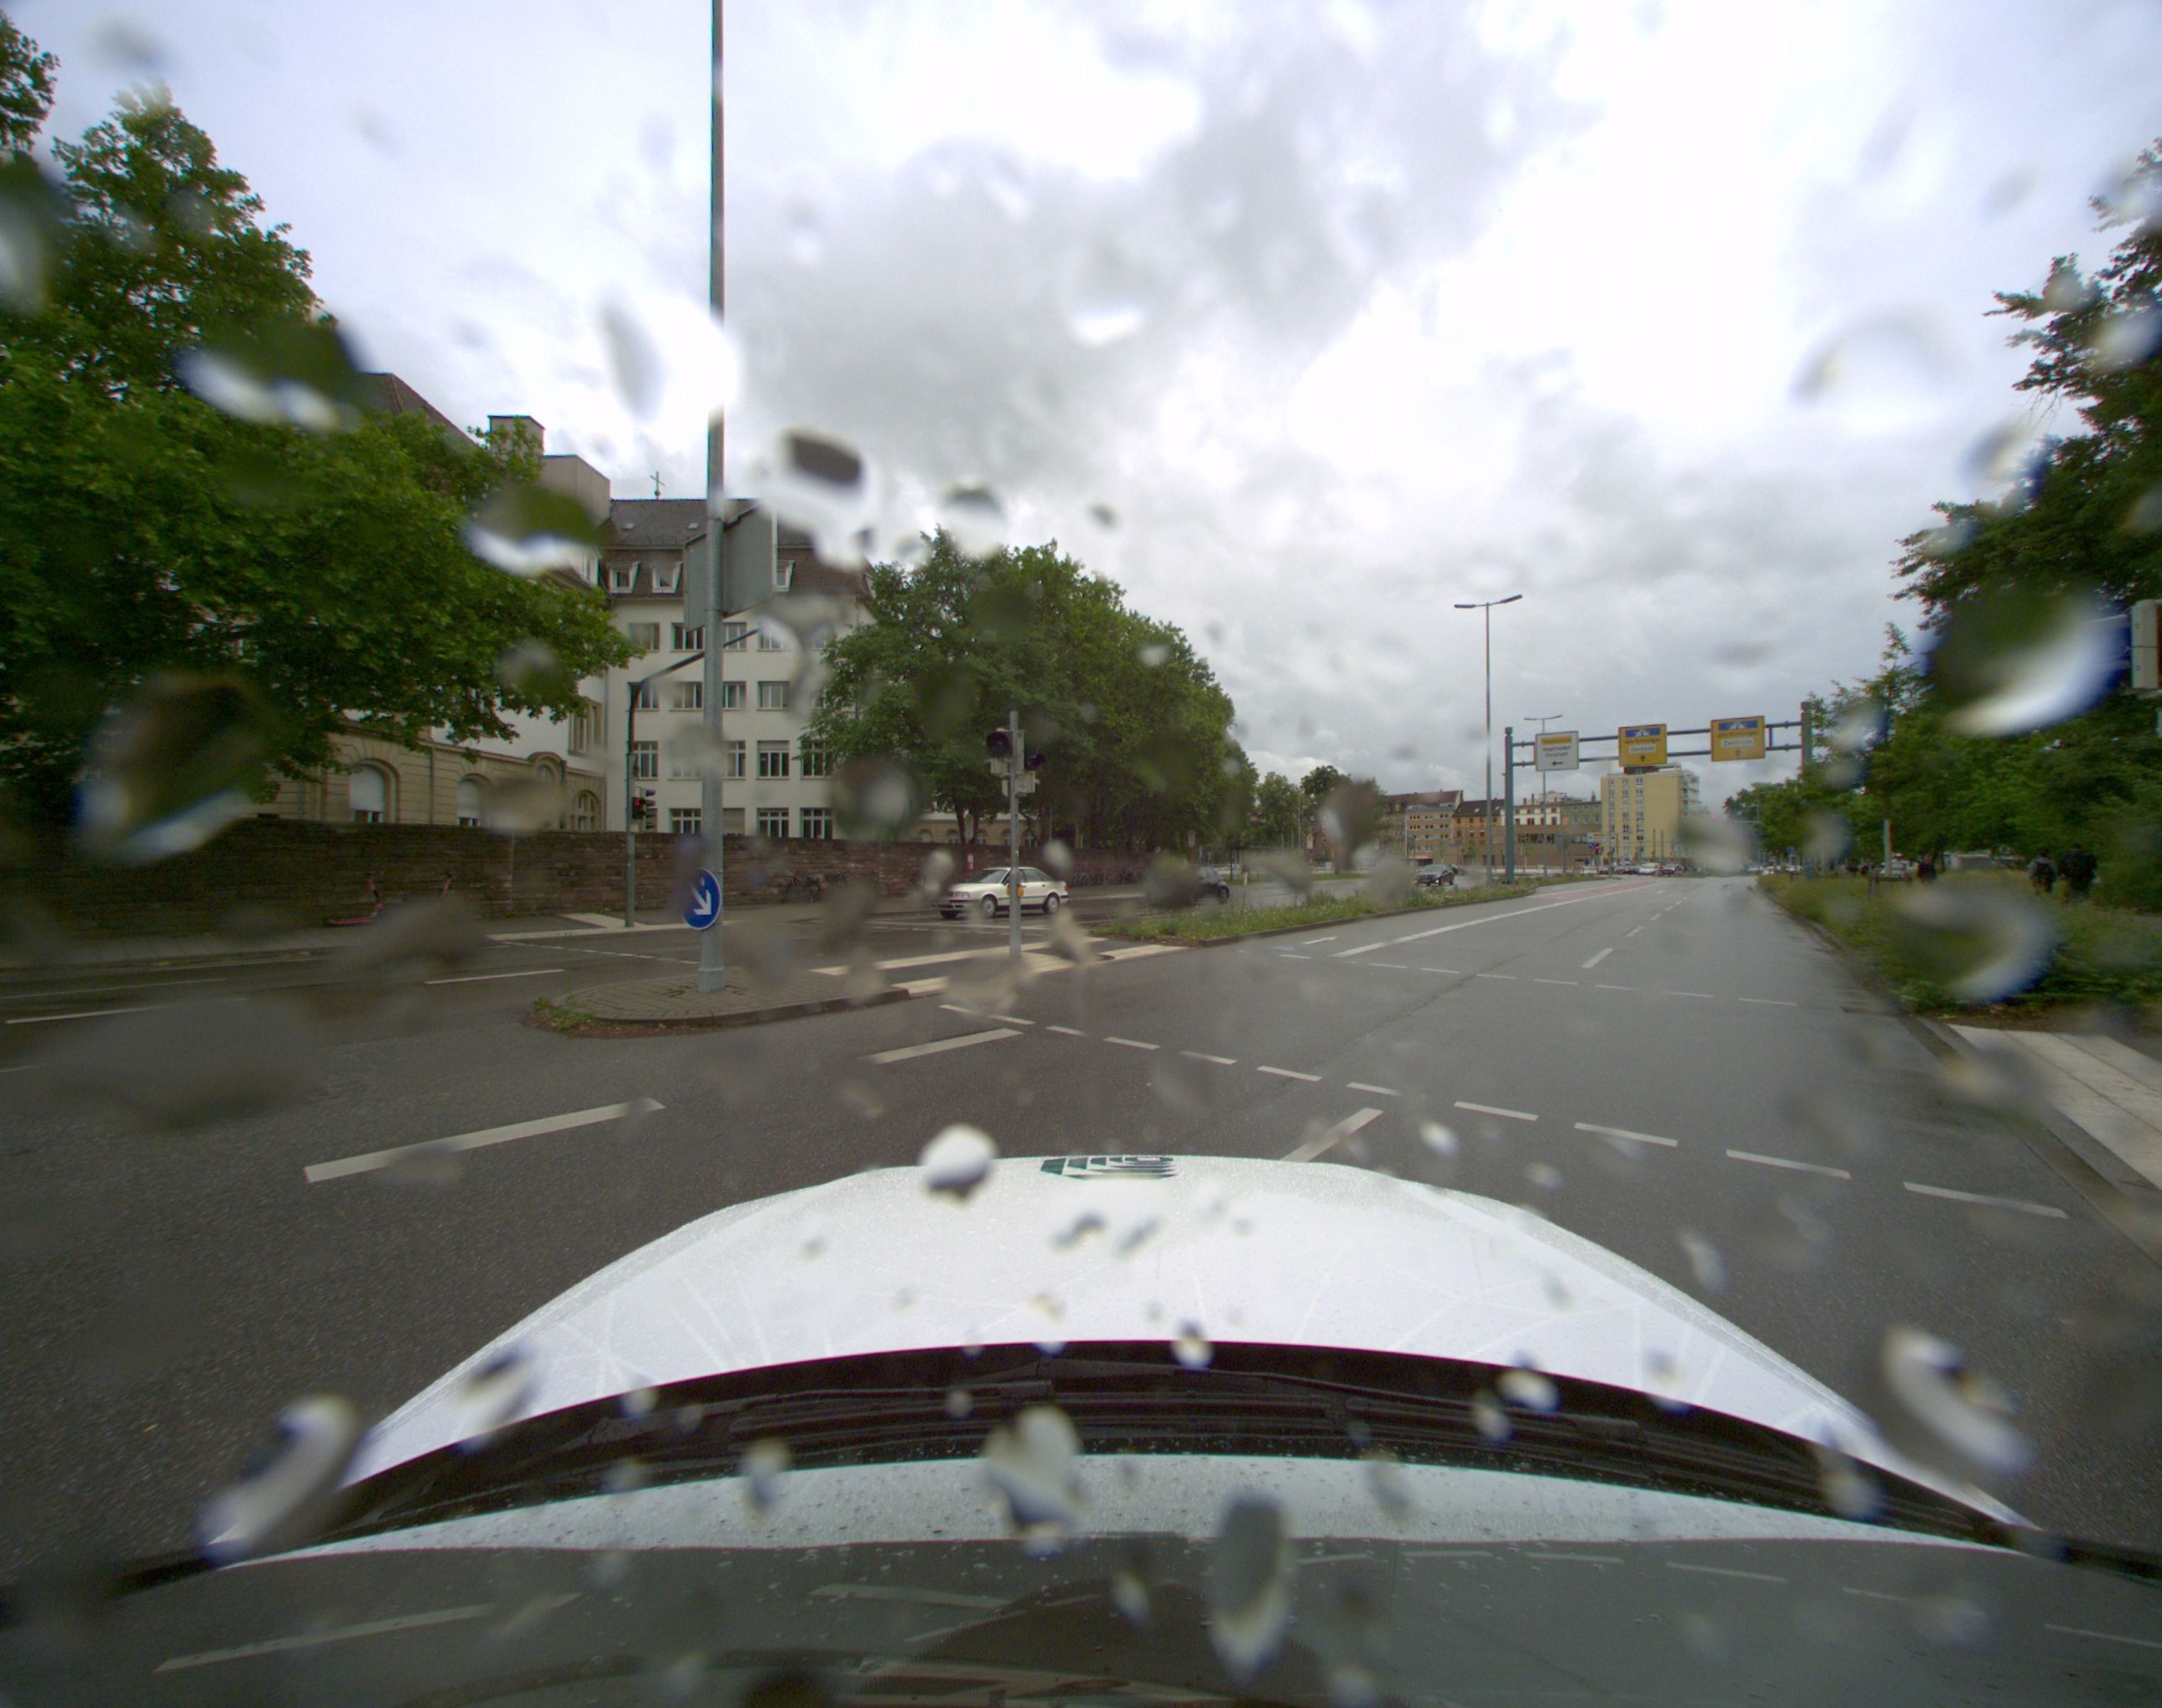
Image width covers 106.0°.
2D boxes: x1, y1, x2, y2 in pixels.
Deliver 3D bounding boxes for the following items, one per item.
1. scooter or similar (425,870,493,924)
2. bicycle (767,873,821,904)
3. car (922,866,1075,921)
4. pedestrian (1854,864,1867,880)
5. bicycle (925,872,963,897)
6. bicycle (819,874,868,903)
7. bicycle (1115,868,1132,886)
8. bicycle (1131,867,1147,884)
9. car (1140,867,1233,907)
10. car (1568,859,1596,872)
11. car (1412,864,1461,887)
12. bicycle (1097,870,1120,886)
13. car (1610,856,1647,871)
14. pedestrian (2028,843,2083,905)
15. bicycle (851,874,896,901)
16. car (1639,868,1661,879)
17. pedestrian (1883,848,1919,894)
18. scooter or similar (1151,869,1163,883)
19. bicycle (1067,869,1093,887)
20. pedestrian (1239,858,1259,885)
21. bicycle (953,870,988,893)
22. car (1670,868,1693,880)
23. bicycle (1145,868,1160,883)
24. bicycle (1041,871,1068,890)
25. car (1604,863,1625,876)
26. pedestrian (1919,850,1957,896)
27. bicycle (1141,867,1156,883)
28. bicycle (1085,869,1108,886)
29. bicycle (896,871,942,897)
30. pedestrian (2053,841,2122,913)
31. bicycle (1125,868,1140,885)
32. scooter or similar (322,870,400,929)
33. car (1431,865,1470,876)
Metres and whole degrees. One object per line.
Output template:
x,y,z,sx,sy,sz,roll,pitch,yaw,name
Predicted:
-14.643,0.997,19.181,0.387,1.197,1.149,7,3,31,scooter or similar
-9.804,1.167,27.898,0.724,0.983,1.711,0,-1,27,bicycle
-2.217,1.056,23.085,1.580,1.416,4.552,-3,-2,38,car
76.039,1.726,79.449,0.941,1.588,0.747,1,-1,-39,pedestrian
-5.797,1.286,34.601,0.724,0.983,1.711,0,-1,27,bicycle
-8.588,1.233,29.532,0.724,0.983,1.711,0,-1,27,bicycle
2.788,1.479,53.314,0.568,1.136,2.000,-1,-1,18,bicycle
4.110,1.530,57.629,0.568,1.136,2.002,-1,-1,22,bicycle
4.075,1.209,31.026,1.608,1.416,4.092,-3,-2,38,car
118.240,2.677,192.301,5.301,2.887,2.353,-1,-1,44,car
25.165,1.501,57.568,1.791,1.540,4.732,-3,-2,42,car
1.708,1.476,50.322,0.724,0.983,1.711,0,-1,27,bicycle
124.768,2.275,185.660,6.679,3.380,2.826,-1,-1,44,car
28.943,0.597,24.199,0.924,1.797,0.833,-1,-1,44,pedestrian
-7.920,1.251,31.146,0.724,0.983,1.711,0,-1,27,bicycle
77.103,2.625,110.269,4.182,1.404,1.664,1,-2,-45,car
31.882,0.647,31.663,0.924,1.720,0.834,1,2,42,pedestrian
5.924,1.676,63.147,0.567,1.047,1.369,-1,-1,22,scooter or similar
-0.030,1.341,45.325,0.724,0.983,1.711,0,-1,27,bicycle
11.113,1.146,53.752,0.860,1.696,1.408,-1,-1,32,pedestrian
-4.946,1.237,36.613,0.724,0.983,1.711,0,-1,27,bicycle
84.769,2.825,114.980,1.975,1.636,4.630,-3,-3,44,car
5.430,1.602,61.776,0.568,1.136,2.002,-1,-1,22,bicycle
-1.395,1.395,43.385,0.724,0.983,1.711,0,-1,27,bicycle
74.128,2.107,113.057,1.690,1.706,3.842,-1,-1,44,car
32.612,0.706,30.996,0.924,1.703,0.834,1,2,42,pedestrian
4.952,1.554,59.759,0.568,1.136,2.002,-1,-1,22,bicycle
0.929,1.370,48.236,0.724,0.983,1.711,0,-1,27,bicycle
-6.523,1.203,32.841,0.724,0.983,1.876,0,-1,31,bicycle
25.140,0.563,20.362,0.924,1.747,1.051,-1,-1,44,pedestrian
3.512,1.507,55.632,0.568,1.136,2.000,-1,-1,18,bicycle
-15.646,0.964,17.714,0.387,1.197,1.149,7,3,33,scooter or similar
45.983,2.023,101.347,4.151,1.402,1.628,0,-1,35,car
